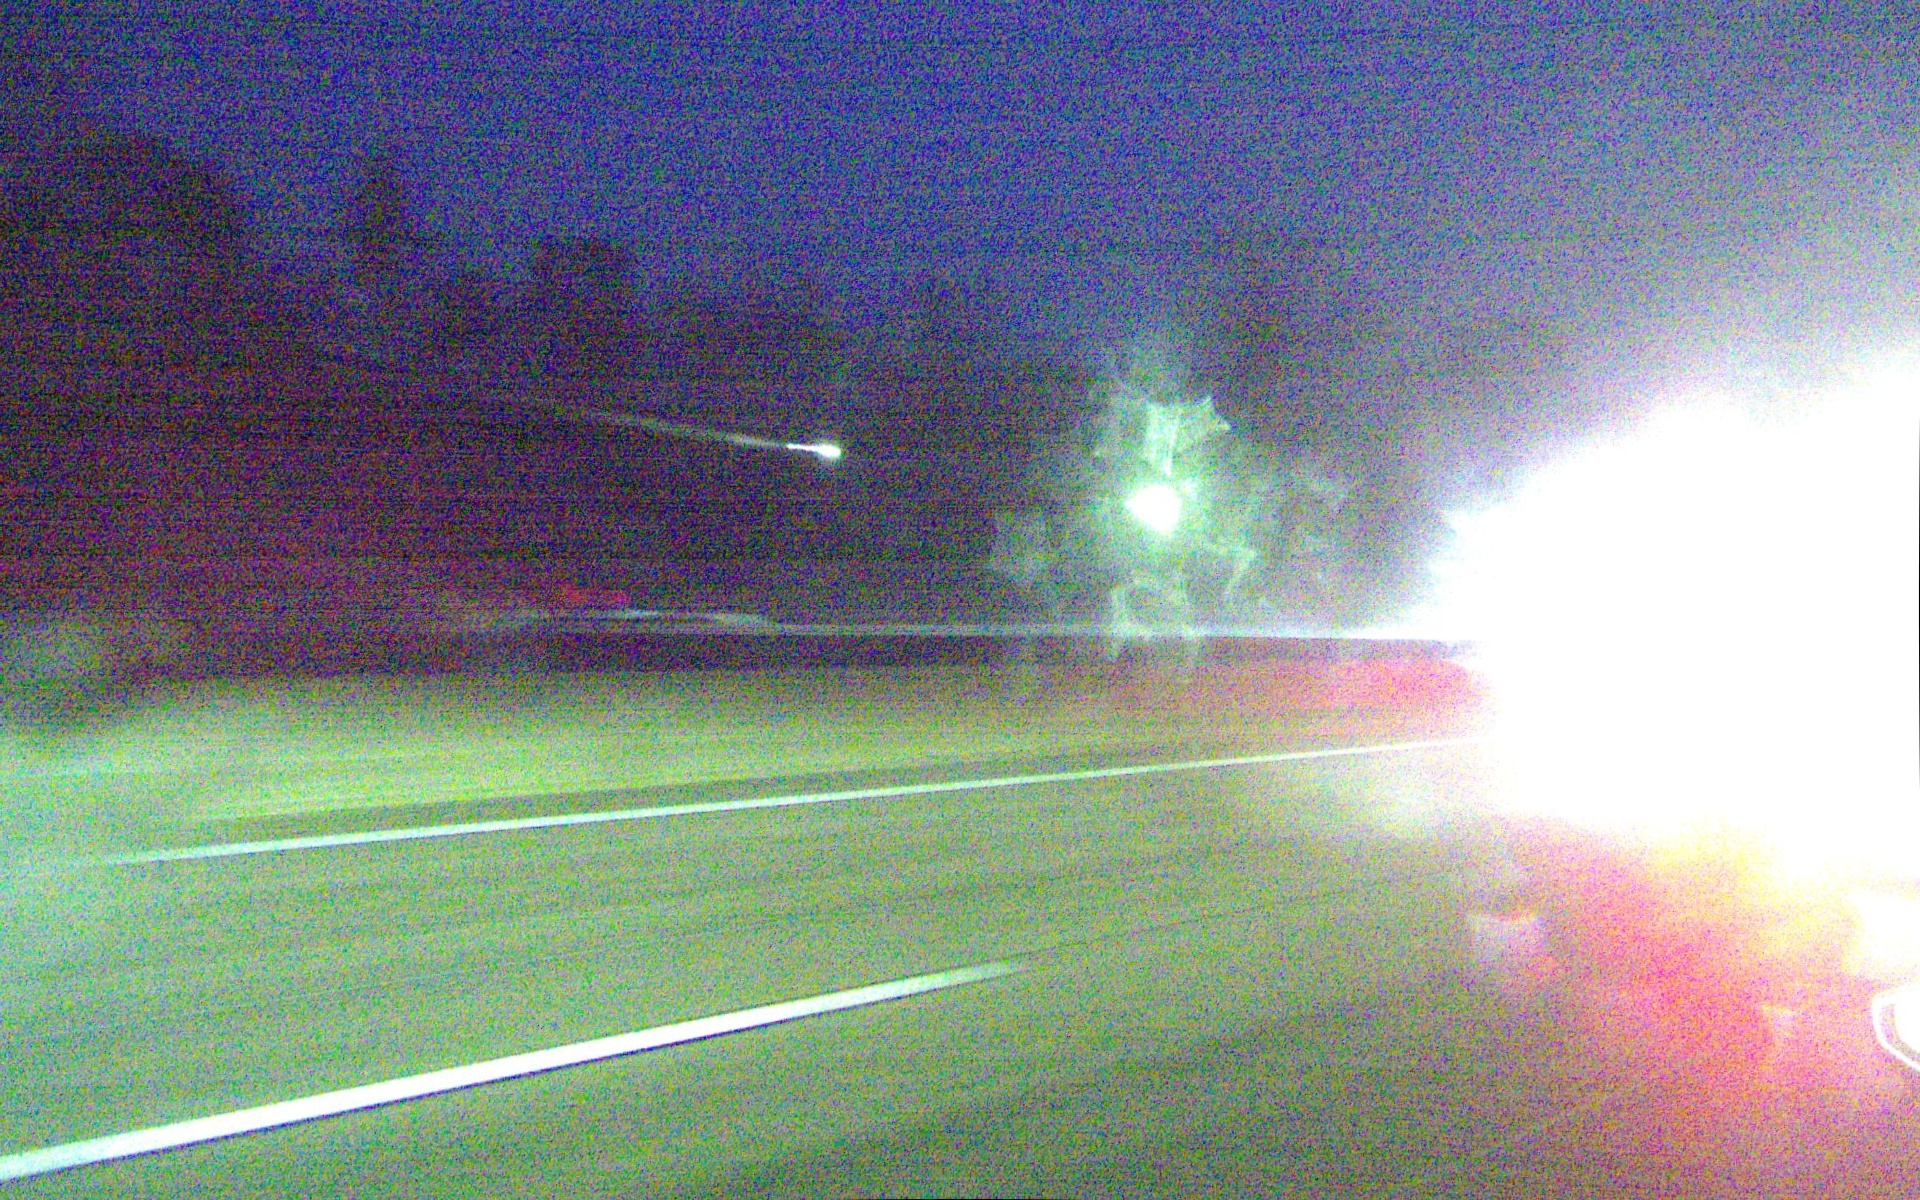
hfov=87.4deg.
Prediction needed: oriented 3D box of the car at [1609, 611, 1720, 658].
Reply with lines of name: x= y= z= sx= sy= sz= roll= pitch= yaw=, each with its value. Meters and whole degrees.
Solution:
car: x=26.782 y=1.293 z=38.164 sx=4.651 sy=1.654 sz=1.762 roll=2 pitch=0 yaw=-32

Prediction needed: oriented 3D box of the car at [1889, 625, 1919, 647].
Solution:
car: x=59.457 y=2.263 z=62.635 sx=4.031 sy=1.283 sz=1.395 roll=2 pitch=0 yaw=-35

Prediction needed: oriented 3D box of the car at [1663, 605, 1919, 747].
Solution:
car: x=11.963 y=0.978 z=13.980 sx=4.699 sy=1.561 sz=1.847 roll=2 pitch=3 yaw=-33
